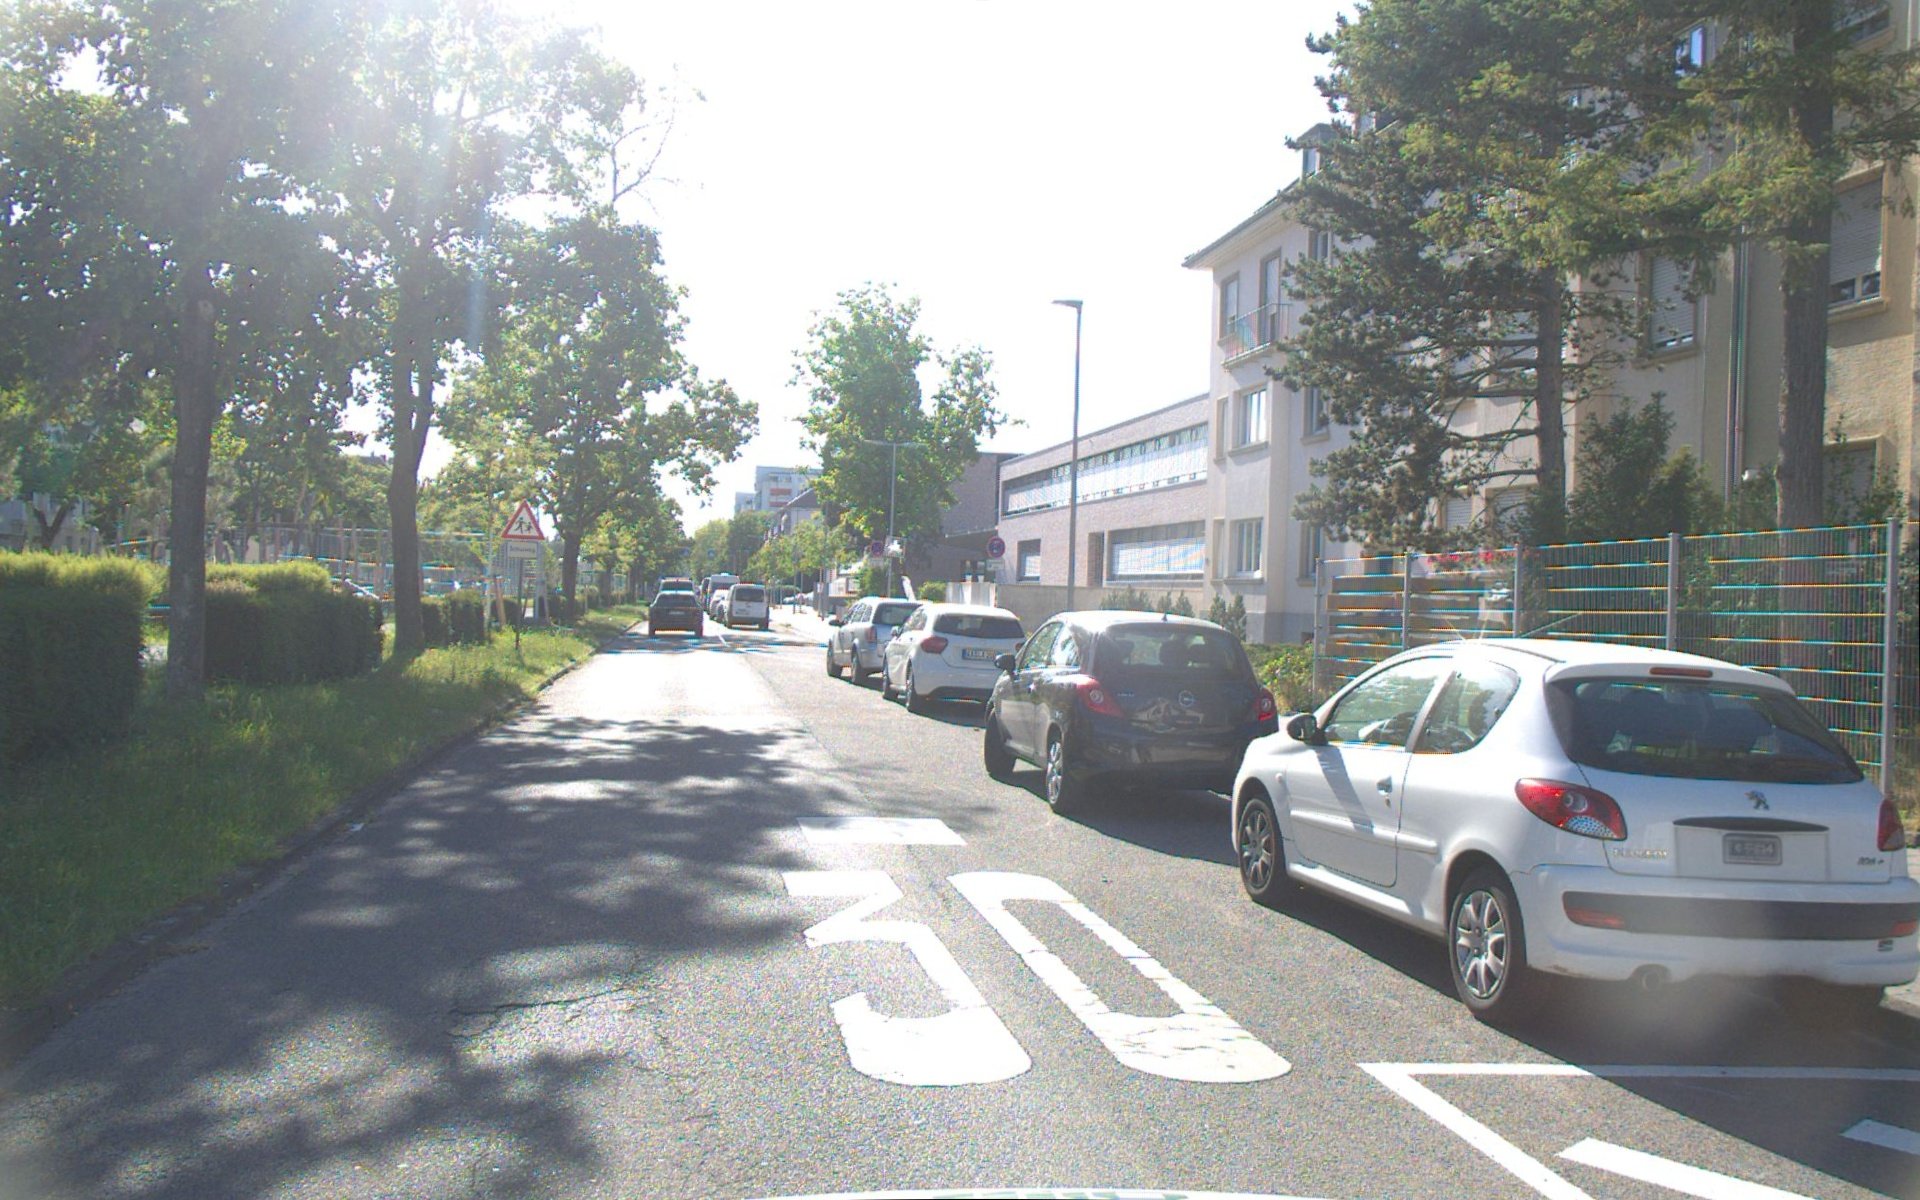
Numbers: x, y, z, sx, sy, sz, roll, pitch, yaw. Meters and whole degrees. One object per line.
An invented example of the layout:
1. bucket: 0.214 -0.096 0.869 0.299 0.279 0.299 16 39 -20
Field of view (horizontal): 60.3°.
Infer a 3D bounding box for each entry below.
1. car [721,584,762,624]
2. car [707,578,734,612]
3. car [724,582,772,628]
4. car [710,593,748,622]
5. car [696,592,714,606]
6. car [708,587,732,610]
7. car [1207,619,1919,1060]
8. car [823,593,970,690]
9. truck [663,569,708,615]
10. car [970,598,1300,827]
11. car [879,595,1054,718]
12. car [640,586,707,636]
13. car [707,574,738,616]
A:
1. car: -10.617 0.179 80.134 1.784 1.862 3.991 2 0 -10
2. car: -17.767 -0.359 122.545 1.784 2.395 3.991 2 0 -10
3. car: -8.989 0.203 69.949 1.784 1.862 3.991 2 0 -10
4. car: -11.985 0.356 85.804 1.784 1.424 3.991 2 0 -10
5. car: -25.941 -0.084 168.152 1.784 1.382 3.991 2 0 -10
6. car: -19.544 -0.130 134.550 1.784 1.867 3.991 2 0 -10
7. car: 2.569 0.867 7.600 1.670 1.422 3.767 3 0 -10
8. car: -1.208 0.686 29.527 1.765 1.520 3.985 3 0 -15
9. truck: -12.918 -0.372 77.635 1.957 2.071 4.862 1 0 -10
10. car: 1.247 0.791 13.420 1.641 1.520 3.817 3 0 -10
11. car: -0.003 0.734 23.530 1.763 1.520 3.991 3 0 -10
12. car: -9.570 0.332 55.063 1.959 1.551 4.741 2 0 -12
13. car: -15.202 -0.334 105.773 1.784 2.562 3.991 2 0 -10
